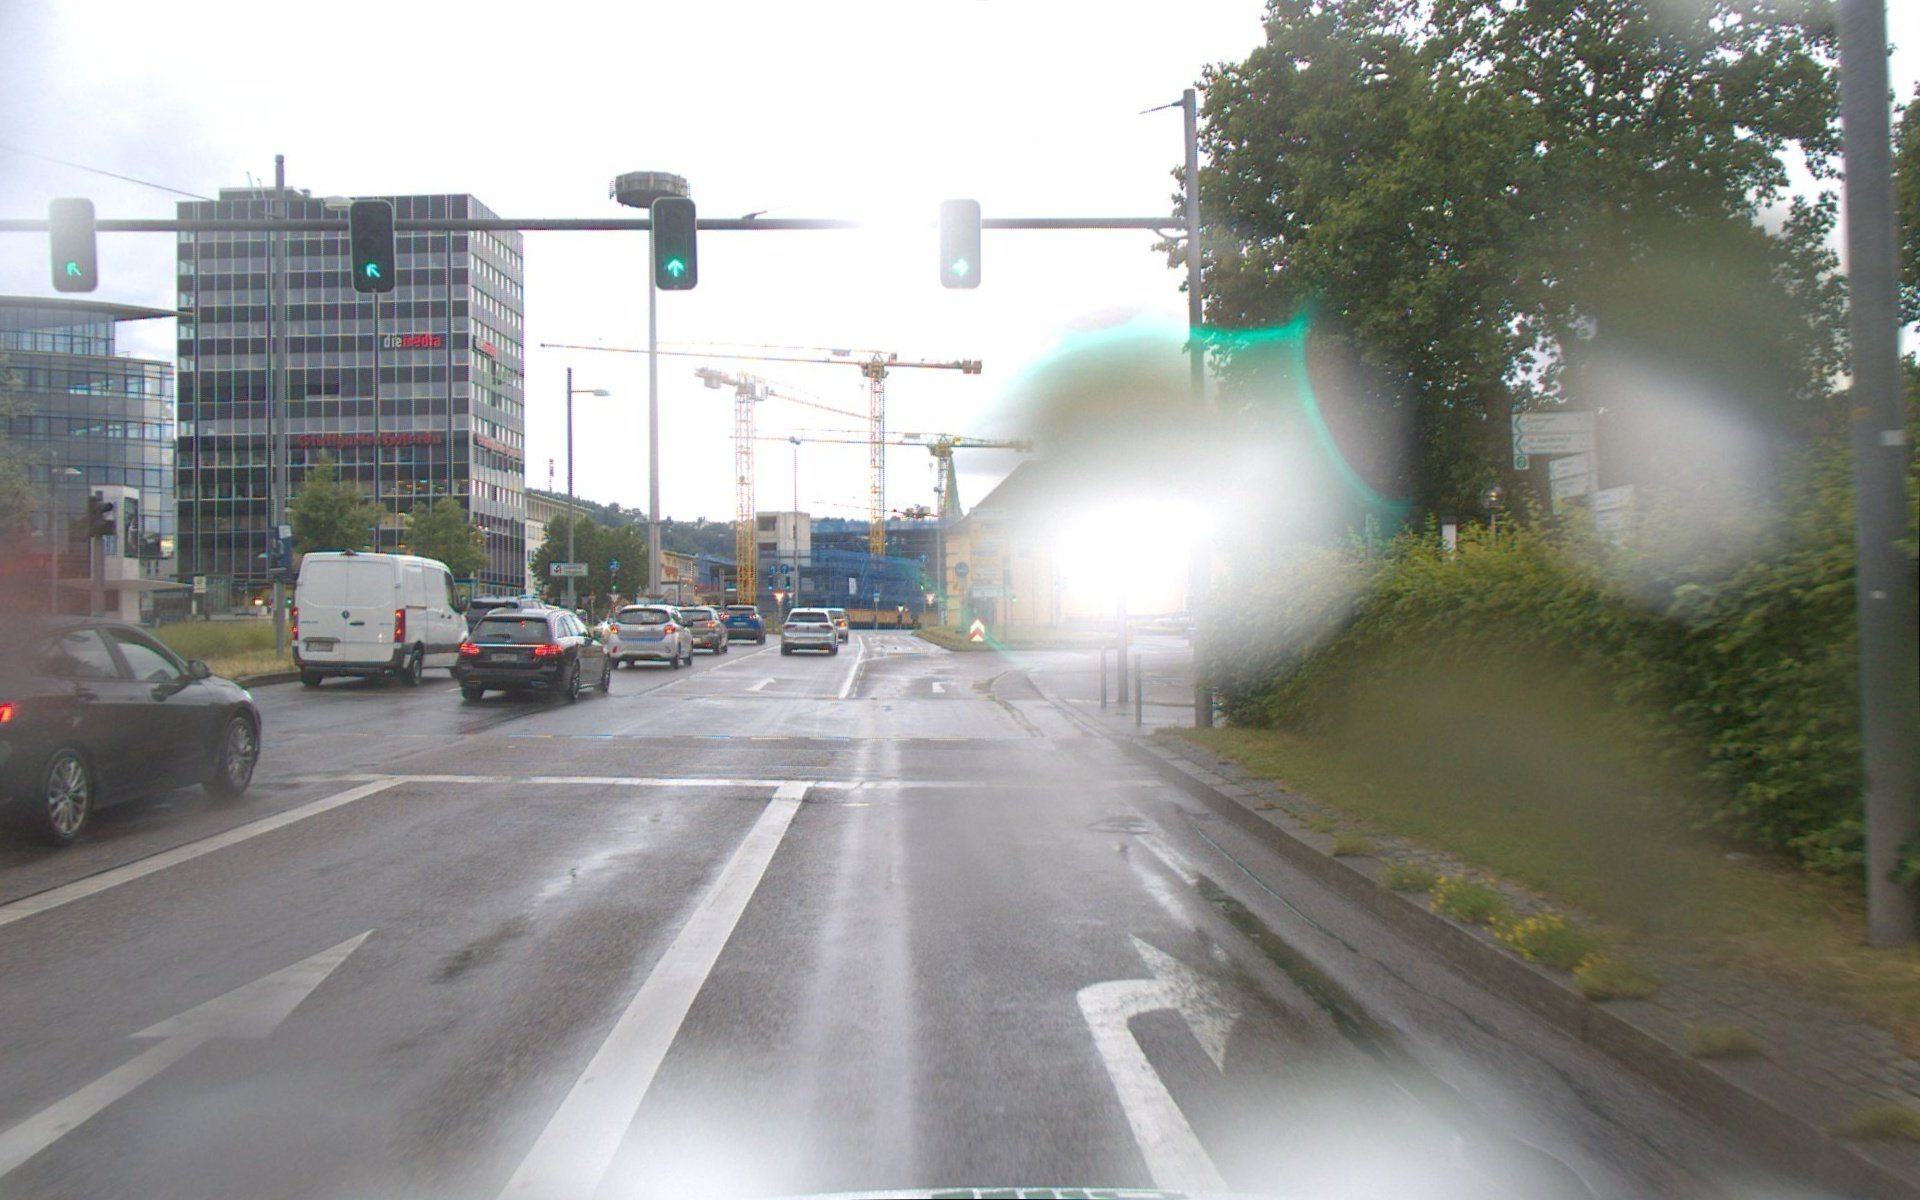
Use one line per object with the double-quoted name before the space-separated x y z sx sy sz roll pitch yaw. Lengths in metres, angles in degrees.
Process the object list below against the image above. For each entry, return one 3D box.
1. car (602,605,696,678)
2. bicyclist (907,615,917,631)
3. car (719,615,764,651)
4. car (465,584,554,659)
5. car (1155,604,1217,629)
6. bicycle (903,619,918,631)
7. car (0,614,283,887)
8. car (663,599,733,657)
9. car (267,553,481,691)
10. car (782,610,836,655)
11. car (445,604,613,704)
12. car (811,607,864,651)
"car" -7.484 1.006 40.058 1.843 1.682 3.454 0 -1 -4
"bicyclist" -4.125 1.982 142.811 0.692 1.298 0.632 1 -2 -18
"car" -8.680 1.320 65.772 1.463 1.393 3.032 0 -1 -2
"car" -10.829 0.540 39.886 1.435 1.736 3.139 0 -2 -4
"car" 13.665 1.015 100.088 3.333 1.508 1.834 -1 -2 24
"bicycle" -4.272 2.136 143.055 0.866 1.027 1.983 1 -2 -17
"car" -6.364 0.877 11.535 1.718 1.497 4.220 0 0 -3
"car" -8.137 0.894 51.615 1.681 1.758 3.493 0 -1 -2
"car" -10.731 0.442 30.779 2.246 2.355 5.004 0 -1 -1
"car" -4.717 1.036 51.835 1.414 1.383 2.412 0 -2 1
"car" -6.903 0.865 26.814 1.792 1.521 3.399 0 -1 0
"car" -5.375 1.259 72.788 1.631 1.772 3.290 1 1 8
